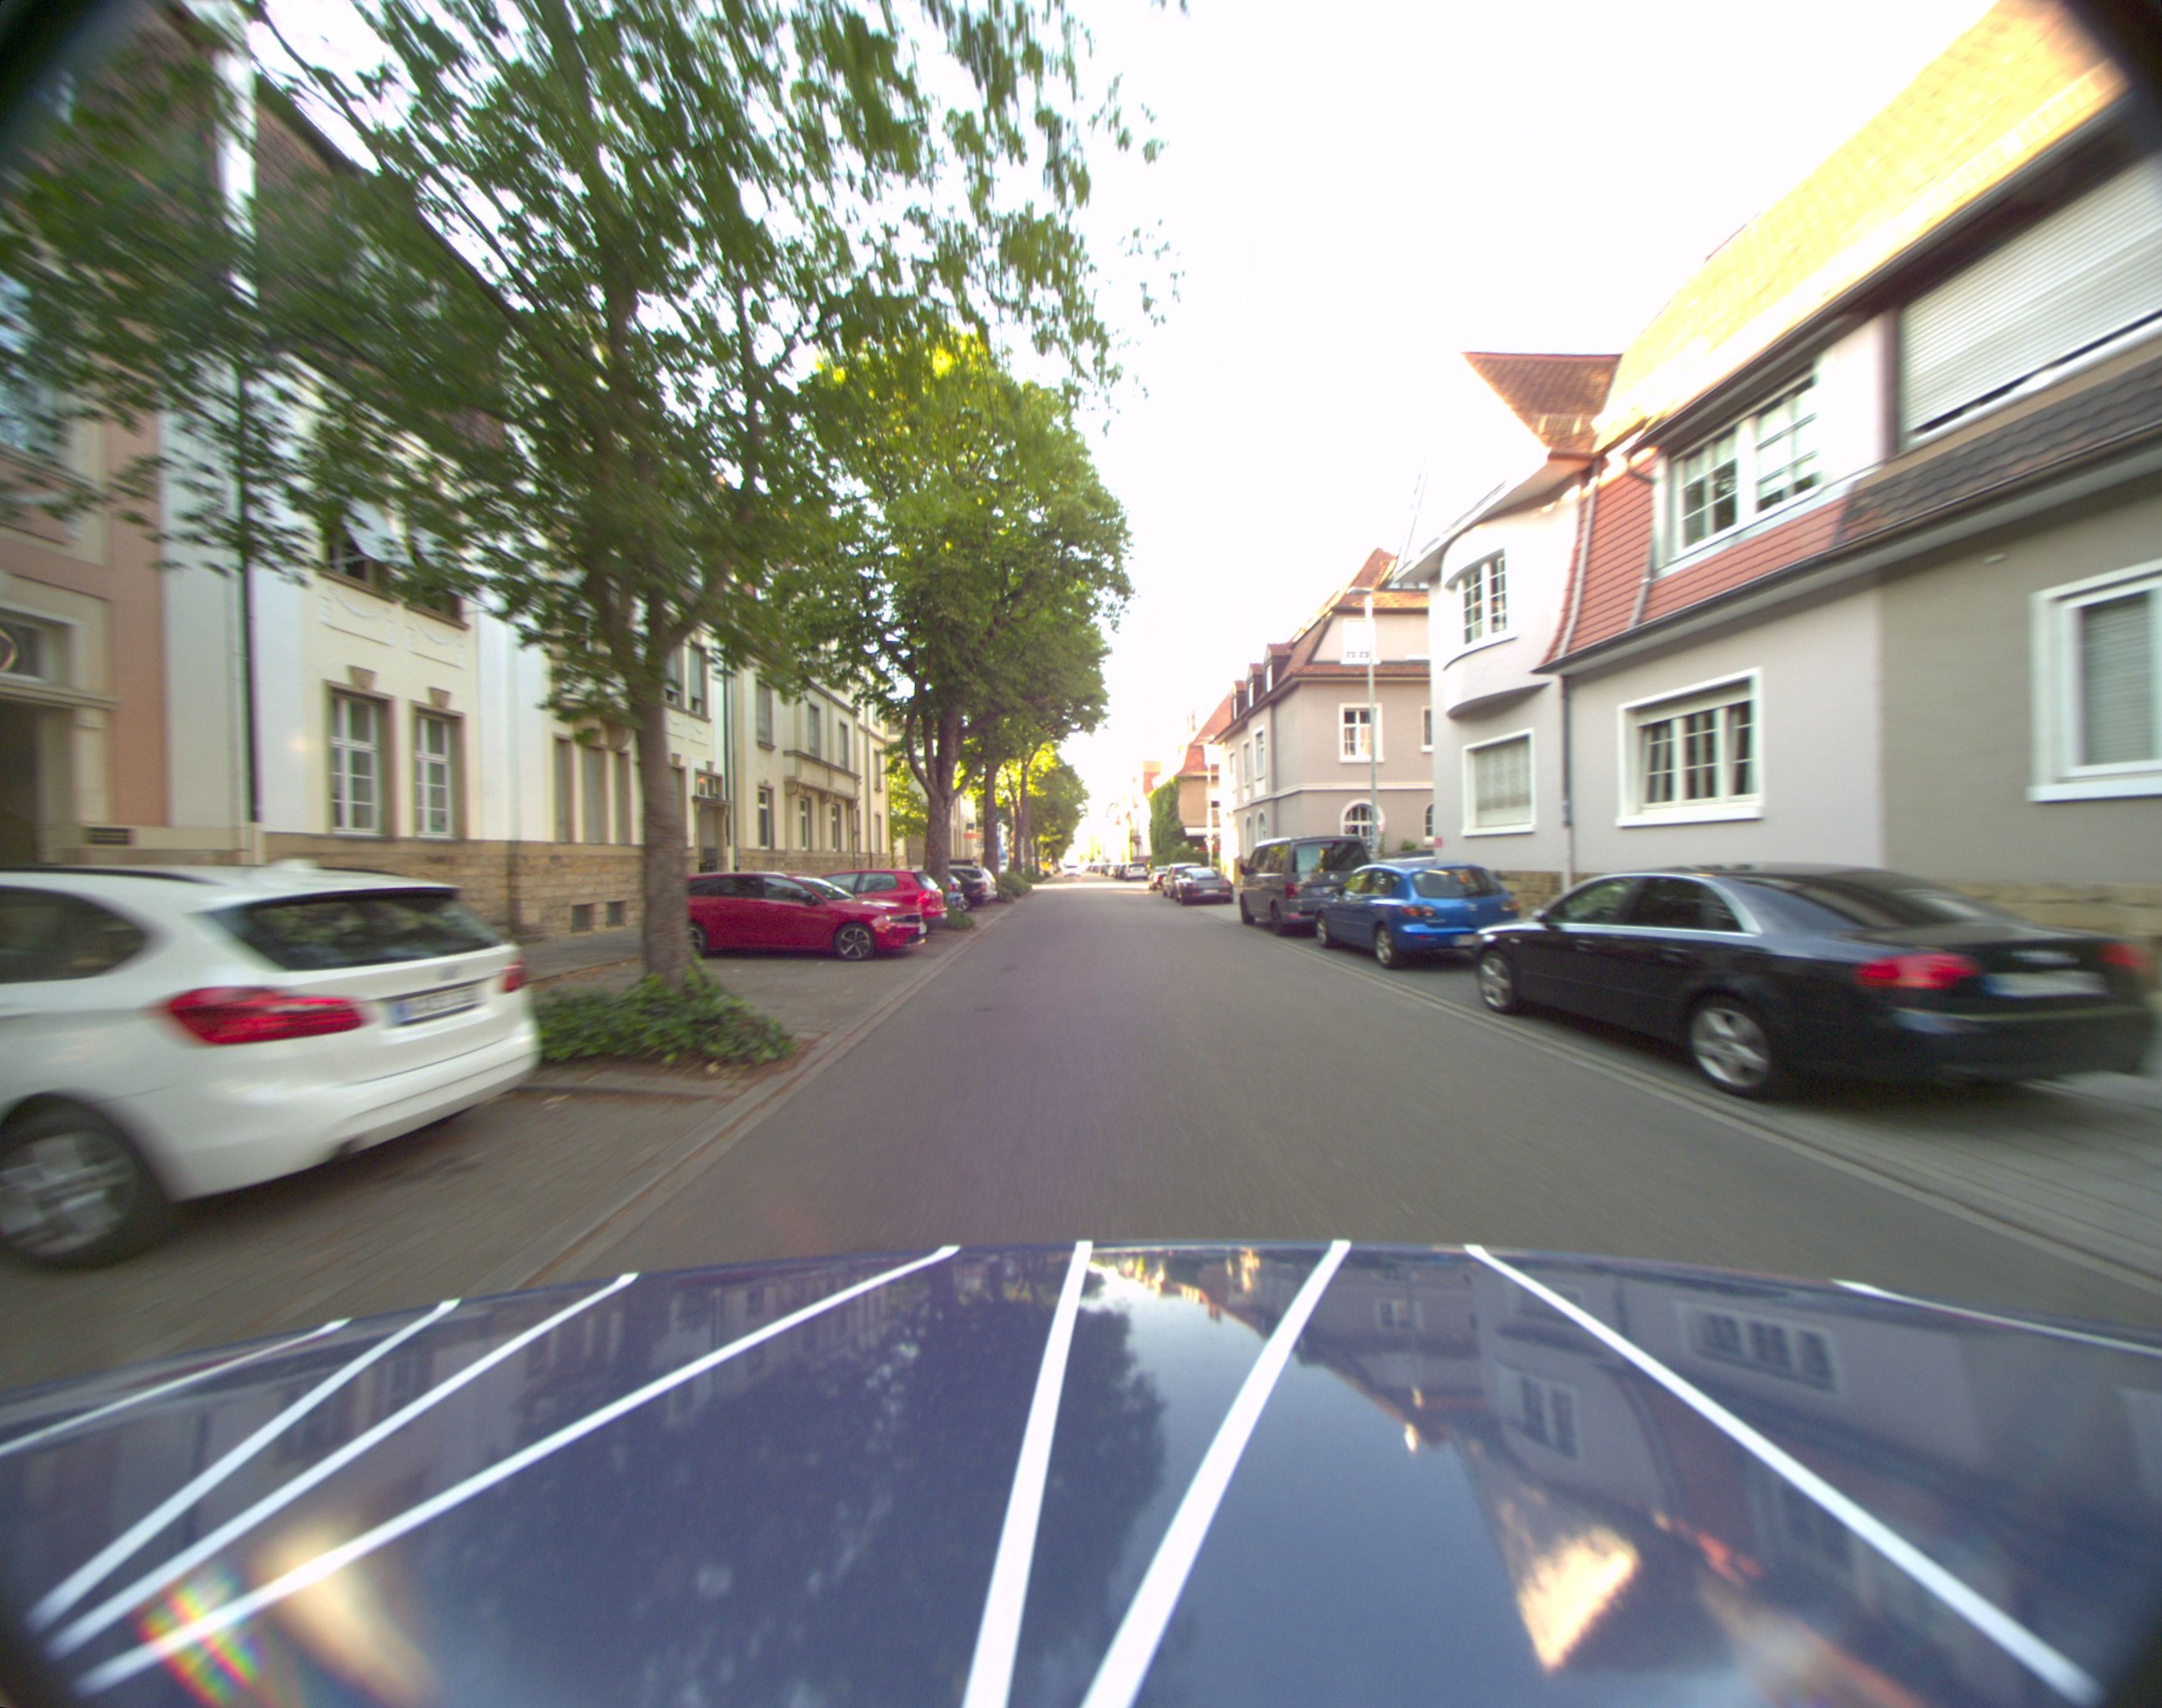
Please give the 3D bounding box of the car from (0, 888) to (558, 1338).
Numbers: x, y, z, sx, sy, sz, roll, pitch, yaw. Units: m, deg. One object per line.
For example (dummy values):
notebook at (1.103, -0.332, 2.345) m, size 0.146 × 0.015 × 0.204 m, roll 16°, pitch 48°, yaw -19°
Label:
car at (-5.061, 0.981, 3.597) m, size 3.950 × 1.568 × 1.719 m, roll 0°, pitch 0°, yaw -1°

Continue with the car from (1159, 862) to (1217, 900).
car at (4.629, 1.131, 33.372) m, size 1.932 × 1.458 × 4.062 m, roll -3°, pitch 0°, yaw 1°

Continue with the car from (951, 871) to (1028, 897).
car at (-4.253, 1.378, 35.507) m, size 3.399 × 1.143 × 1.542 m, roll 0°, pitch 0°, yaw 1°

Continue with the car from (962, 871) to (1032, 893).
car at (-4.249, 1.419, 38.740) m, size 3.399 × 1.057 × 1.542 m, roll 0°, pitch 0°, yaw 1°

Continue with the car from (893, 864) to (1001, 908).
car at (-4.859, 1.156, 27.930) m, size 3.680 × 1.548 × 1.576 m, roll 0°, pitch 0°, yaw 1°

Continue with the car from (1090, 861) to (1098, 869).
car at (2.755, 2.336, 164.513) m, size 1.699 × 1.520 × 3.677 m, roll -3°, pitch 0°, yaw 1°

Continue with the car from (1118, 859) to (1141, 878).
car at (4.207, 1.243, 66.502) m, size 1.699 × 1.520 × 3.677 m, roll -3°, pitch 0°, yaw 1°

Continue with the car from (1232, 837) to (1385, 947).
car at (4.731, 0.727, 16.584) m, size 1.842 × 1.963 × 4.612 m, roll -3°, pitch 0°, yaw 0°

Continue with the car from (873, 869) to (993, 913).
car at (-4.859, 1.208, 25.303) m, size 3.680 × 1.390 × 1.576 m, roll 0°, pitch 0°, yaw 1°

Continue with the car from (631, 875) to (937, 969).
car at (-4.935, 1.107, 13.063) m, size 4.531 × 1.443 × 1.868 m, roll 0°, pitch 0°, yaw 2°

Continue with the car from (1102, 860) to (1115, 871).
car at (3.841, 1.591, 107.094) m, size 1.699 × 1.520 × 3.677 m, roll -3°, pitch 0°, yaw 1°

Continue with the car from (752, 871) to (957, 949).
car at (-4.540, 1.097, 15.558) m, size 3.680 × 1.473 × 1.659 m, roll 0°, pitch 0°, yaw 2°

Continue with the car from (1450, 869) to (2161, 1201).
car at (4.863, 0.909, 5.849) m, size 1.806 × 1.438 × 4.428 m, roll -3°, pitch 0°, yaw 0°

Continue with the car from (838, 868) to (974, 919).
car at (-5.183, 1.165, 22.794) m, size 3.680 × 1.457 × 1.576 m, roll 0°, pitch 0°, yaw 1°

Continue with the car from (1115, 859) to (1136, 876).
car at (4.176, 1.271, 71.996) m, size 1.699 × 1.520 × 3.677 m, roll -3°, pitch 0°, yaw 1°

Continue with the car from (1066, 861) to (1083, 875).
car at (-0.761, 1.568, 85.906) m, size 1.819 × 1.454 × 4.073 m, roll -2°, pitch 0°, yaw 0°

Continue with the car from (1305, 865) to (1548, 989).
car at (4.938, 0.942, 11.572) m, size 1.768 × 1.438 × 4.062 m, roll -3°, pitch 0°, yaw 0°

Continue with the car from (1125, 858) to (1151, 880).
car at (4.397, 1.167, 59.239) m, size 1.699 × 1.558 × 3.677 m, roll -3°, pitch 0°, yaw 1°

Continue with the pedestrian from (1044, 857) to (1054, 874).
pedestrian at (-3.753, 1.311, 89.457) m, size 1.119 × 1.926 × 1.097 m, roll -2°, pitch 0°, yaw -2°

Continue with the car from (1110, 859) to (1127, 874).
car at (4.030, 1.325, 82.245) m, size 1.699 × 1.520 × 3.677 m, roll -3°, pitch 0°, yaw 1°

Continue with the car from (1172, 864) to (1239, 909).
car at (4.485, 1.138, 27.891) m, size 1.932 × 1.375 × 4.063 m, roll -3°, pitch 0°, yaw 3°

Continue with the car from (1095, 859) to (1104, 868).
car at (3.387, 1.764, 140.248) m, size 1.699 × 1.520 × 3.677 m, roll -3°, pitch 0°, yaw 1°

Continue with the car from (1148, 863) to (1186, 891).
car at (4.667, 1.222, 41.613) m, size 1.662 × 1.354 × 3.677 m, roll -3°, pitch 0°, yaw 1°

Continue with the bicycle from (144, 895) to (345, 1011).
bicycle at (-9.607, 1.095, 8.817) m, size 0.695 × 1.152 × 1.475 m, roll 1°, pitch 0°, yaw 0°

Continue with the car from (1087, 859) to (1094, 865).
car at (2.388, 2.044, 193.987) m, size 1.699 × 1.520 × 3.677 m, roll -3°, pitch 0°, yaw 1°
